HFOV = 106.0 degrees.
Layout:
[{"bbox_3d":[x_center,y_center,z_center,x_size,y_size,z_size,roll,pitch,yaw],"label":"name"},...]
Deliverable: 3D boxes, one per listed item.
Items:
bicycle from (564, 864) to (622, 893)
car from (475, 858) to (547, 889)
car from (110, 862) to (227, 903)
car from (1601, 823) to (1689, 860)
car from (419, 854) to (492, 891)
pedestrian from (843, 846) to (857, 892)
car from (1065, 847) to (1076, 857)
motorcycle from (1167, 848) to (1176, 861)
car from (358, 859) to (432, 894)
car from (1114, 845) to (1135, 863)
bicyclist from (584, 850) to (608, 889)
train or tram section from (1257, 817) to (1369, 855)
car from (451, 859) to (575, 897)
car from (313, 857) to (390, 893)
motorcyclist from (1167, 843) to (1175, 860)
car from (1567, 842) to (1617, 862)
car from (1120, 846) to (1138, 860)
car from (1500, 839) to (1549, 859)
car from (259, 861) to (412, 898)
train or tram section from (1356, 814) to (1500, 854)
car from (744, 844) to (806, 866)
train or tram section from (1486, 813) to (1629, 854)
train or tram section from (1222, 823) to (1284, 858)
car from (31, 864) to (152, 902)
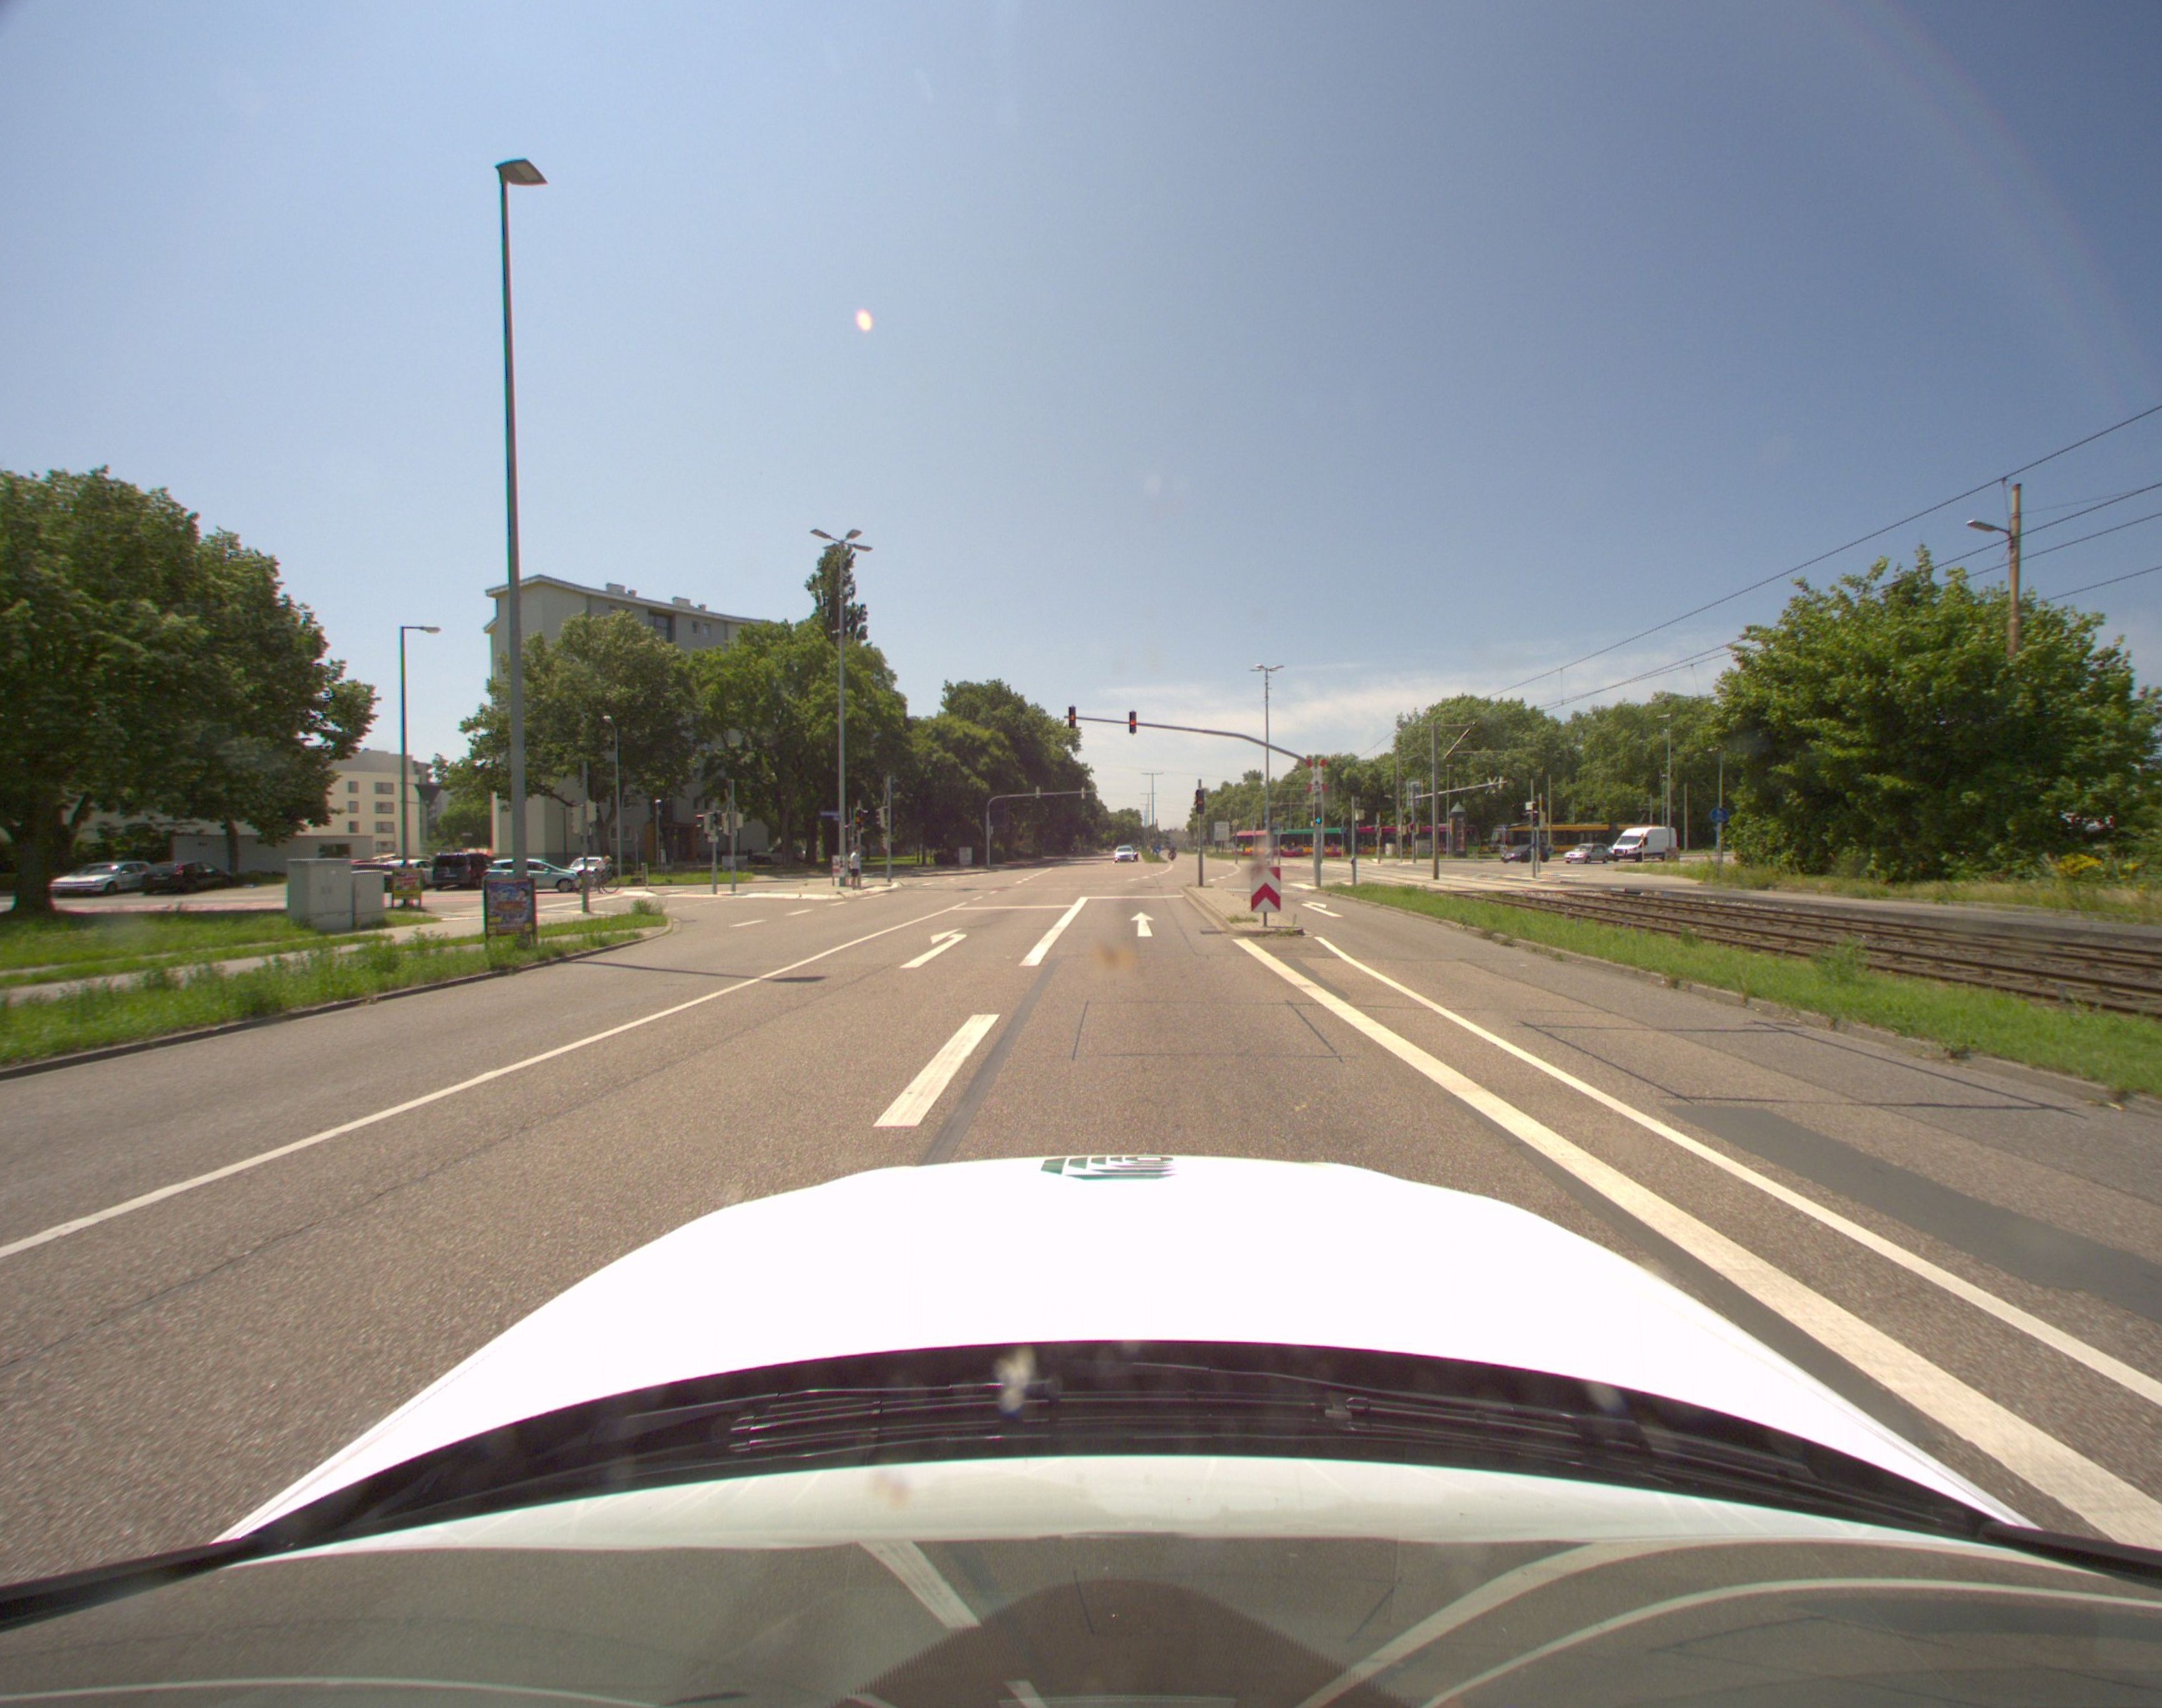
[{"bbox_3d":[-19.684,0.978,32.889,1.869,1.093,0.642,-1,0,-19],"label":"bicycle"},{"bbox_3d":[-29.763,0.979,42.685,1.619,1.464,3.984,0,1,-12],"label":"car"},{"bbox_3d":[-42.929,1.305,38.443,1.851,1.711,3.975,-3,1,-18],"label":"car"},{"bbox_3d":[44.987,-1.023,64.903,7.301,2.802,2.693,-1,1,-28],"label":"car"},{"bbox_3d":[-32.117,0.907,41.936,1.709,1.800,3.976,0,1,-18],"label":"car"},{"bbox_3d":[-8.650,0.563,30.481,0.381,1.687,0.486,-1,1,0],"label":"pedestrian"},{"bbox_3d":[-2.107,-0.429,166.257,1.986,2.013,4.001,3,0,1],"label":"car"},{"bbox_3d":[8.871,0.012,80.140,0.843,1.255,2.452,0,1,5],"label":"motorcycle"},{"bbox_3d":[-34.495,1.072,41.062,1.711,1.592,3.970,0,1,-22],"label":"car"},{"bbox_3d":[4.015,-0.001,74.828,1.776,1.628,3.870,-1,1,5],"label":"car"},{"bbox_3d":[-19.602,0.609,32.919,0.666,1.537,0.627,-1,0,-18],"label":"bicyclist"},{"bbox_3d":[26.681,-1.916,94.838,2.938,3.812,13.299,3,-3,-39],"label":"train or tram section"},{"bbox_3d":[-23.653,0.957,34.055,3.899,1.468,1.763,-1,0,-21],"label":"car"},{"bbox_3d":[-36.954,1.033,41.364,1.856,1.668,3.966,-1,0,-26],"label":"car"},{"bbox_3d":[8.856,-0.253,80.022,0.786,1.642,1.213,0,0,6],"label":"motorcyclist"},{"bbox_3d":[38.416,-0.150,61.208,3.818,1.463,1.624,-1,1,-31],"label":"car"},{"bbox_3d":[4.849,-0.127,82.287,1.703,1.365,3.870,-1,1,5],"label":"car"},{"bbox_3d":[34.333,-0.404,63.063,3.517,1.463,1.626,-2,1,-28],"label":"car"},{"bbox_3d":[-33.074,1.096,36.295,4.623,1.499,1.903,-1,1,-15],"label":"car"},{"bbox_3d":[36.878,-2.026,87.094,13.871,3.919,2.939,0,-3,24],"label":"train or tram section"},{"bbox_3d":[-25.917,0.052,69.109,1.769,1.768,4.576,0,1,44],"label":"car"},{"bbox_3d":[49.769,-2.104,85.192,13.902,3.919,2.917,1,-2,-7],"label":"train or tram section"},{"bbox_3d":[21.965,-1.620,104.998,2.915,3.812,13.022,1,-2,-11],"label":"train or tram section"},{"bbox_3d":[-45.349,1.270,37.466,1.692,1.562,3.815,-1,1,-18],"label":"car"}]
